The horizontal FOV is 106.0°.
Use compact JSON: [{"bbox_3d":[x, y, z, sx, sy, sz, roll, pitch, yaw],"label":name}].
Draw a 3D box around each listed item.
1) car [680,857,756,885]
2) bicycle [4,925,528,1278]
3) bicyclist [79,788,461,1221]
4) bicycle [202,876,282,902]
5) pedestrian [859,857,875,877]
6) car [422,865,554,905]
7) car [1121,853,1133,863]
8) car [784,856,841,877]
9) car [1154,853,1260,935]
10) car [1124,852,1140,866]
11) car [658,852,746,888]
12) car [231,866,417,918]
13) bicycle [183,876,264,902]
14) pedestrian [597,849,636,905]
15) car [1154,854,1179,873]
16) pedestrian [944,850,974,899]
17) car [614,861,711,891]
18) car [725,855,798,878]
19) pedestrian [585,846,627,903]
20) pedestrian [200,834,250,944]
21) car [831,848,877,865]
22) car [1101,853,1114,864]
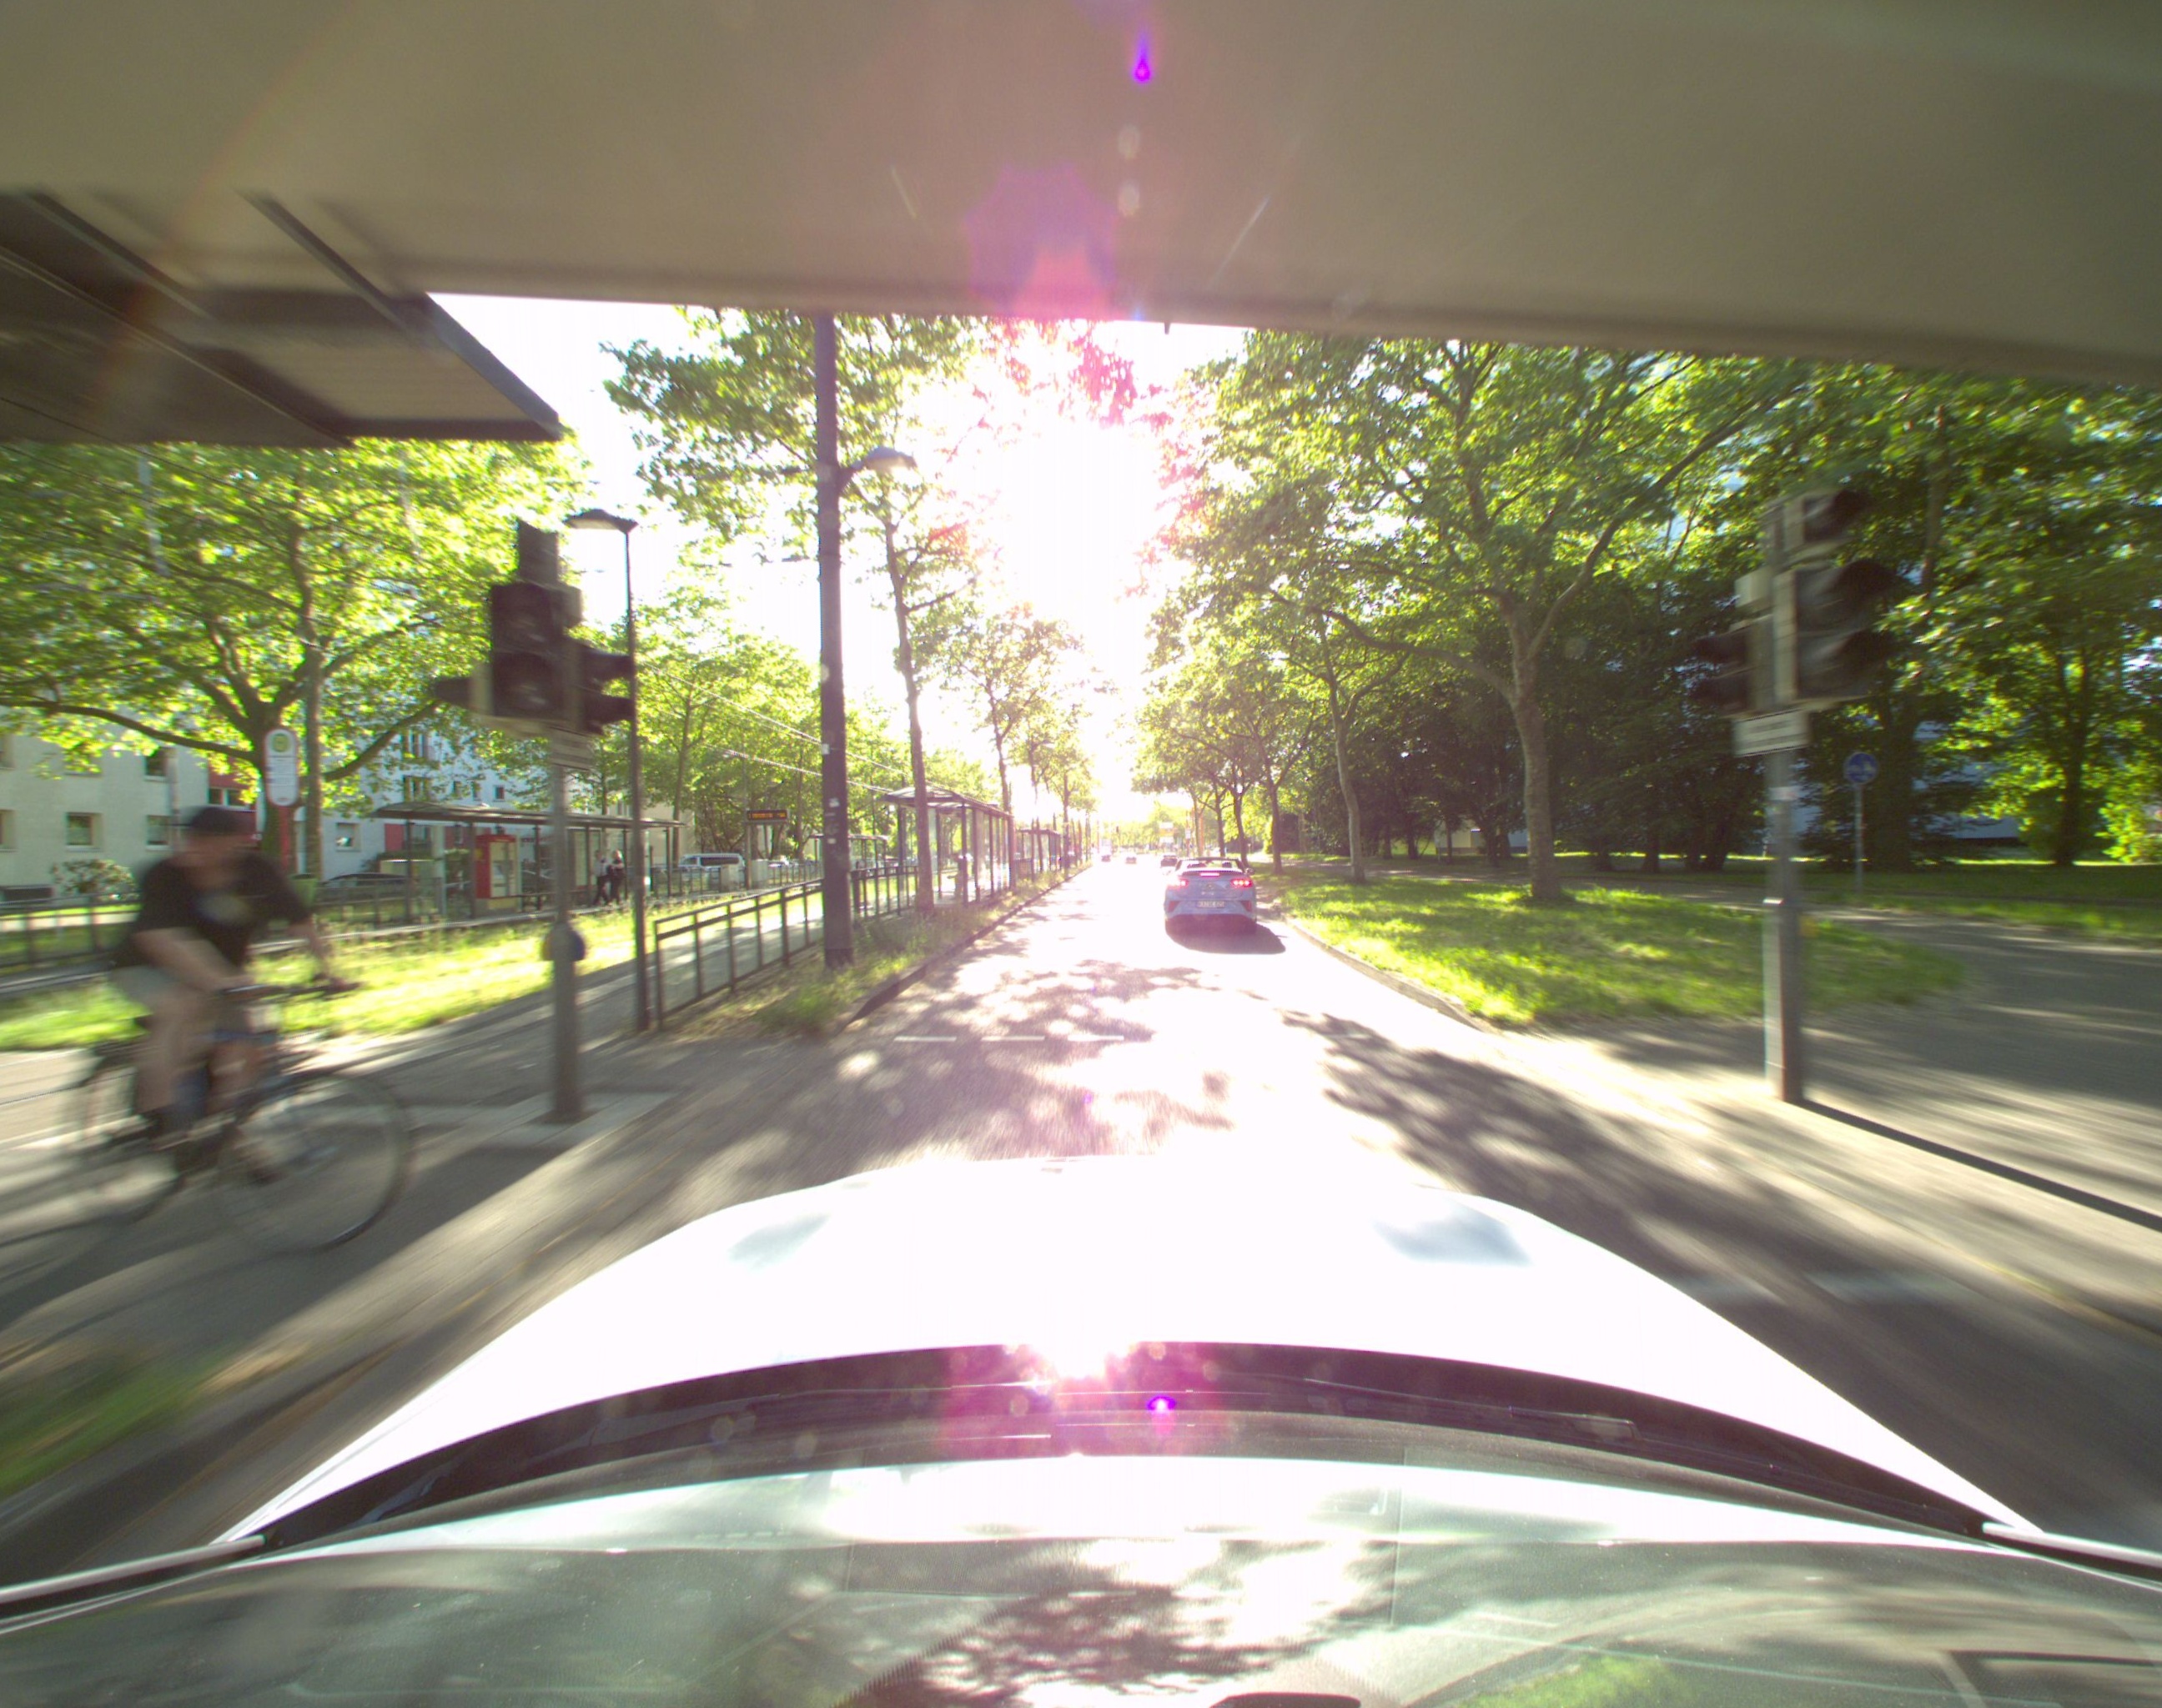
[{"bbox_3d":[-23.005,1.057,51.662,4.082,1.610,1.669,-1,1,-42],"label":"car"},{"bbox_3d":[-3.544,0.959,3.594,1.817,1.147,0.818,1,1,15],"label":"bicycle"},{"bbox_3d":[-3.499,0.557,3.578,0.946,1.632,0.818,1,1,15],"label":"bicyclist"},{"bbox_3d":[-35.046,1.449,34.085,0.693,0.928,2.594,0,1,-2],"label":"bicycle"},{"bbox_3d":[-13.045,0.793,49.688,0.692,1.127,0.662,-4,-1,2],"label":"pedestrian"},{"bbox_3d":[-23.745,1.204,32.736,4.219,1.428,1.681,0,1,-37],"label":"car"},{"bbox_3d":[6.705,0.612,118.191,1.671,1.475,4.133,0,0,3],"label":"car"},{"bbox_3d":[-21.519,0.988,65.417,1.556,1.568,4.085,2,2,43],"label":"car"},{"bbox_3d":[2.491,0.730,17.011,1.769,1.483,4.103,0,0,3],"label":"car"},{"bbox_3d":[5.949,0.572,95.184,1.633,1.494,3.504,0,1,1],"label":"car"},{"bbox_3d":[-22.737,0.917,48.917,4.521,2.063,1.879,0,1,-37],"label":"car"},{"bbox_3d":[-24.161,1.169,26.242,4.219,1.428,1.681,0,1,-37],"label":"car"},{"bbox_3d":[-35.848,1.452,34.101,0.693,0.928,2.594,0,1,-2],"label":"bicycle"},{"bbox_3d":[-12.995,0.642,22.808,0.636,1.514,0.688,-3,0,36],"label":"pedestrian"},{"bbox_3d":[7.890,0.874,75.892,1.974,1.792,4.616,0,0,2],"label":"car"},{"bbox_3d":[-3.187,0.532,21.277,0.732,1.252,0.587,0,-1,-5],"label":"pedestrian"},{"bbox_3d":[-23.268,1.182,45.351,4.523,1.497,1.878,0,1,-41],"label":"car"},{"bbox_3d":[-22.777,0.833,58.197,1.876,1.504,4.527,0,1,43],"label":"car"},{"bbox_3d":[-13.812,0.590,23.667,0.722,1.634,0.719,-3,-1,25],"label":"pedestrian"},{"bbox_3d":[-14.070,0.558,13.396,0.506,1.770,0.478,0,-1,-39],"label":"pedestrian"},{"bbox_3d":[-22.127,0.241,79.295,4.014,1.544,1.627,-1,1,-40],"label":"car"},{"bbox_3d":[3.832,0.660,117.621,1.704,1.603,3.350,-1,0,1],"label":"car"}]
